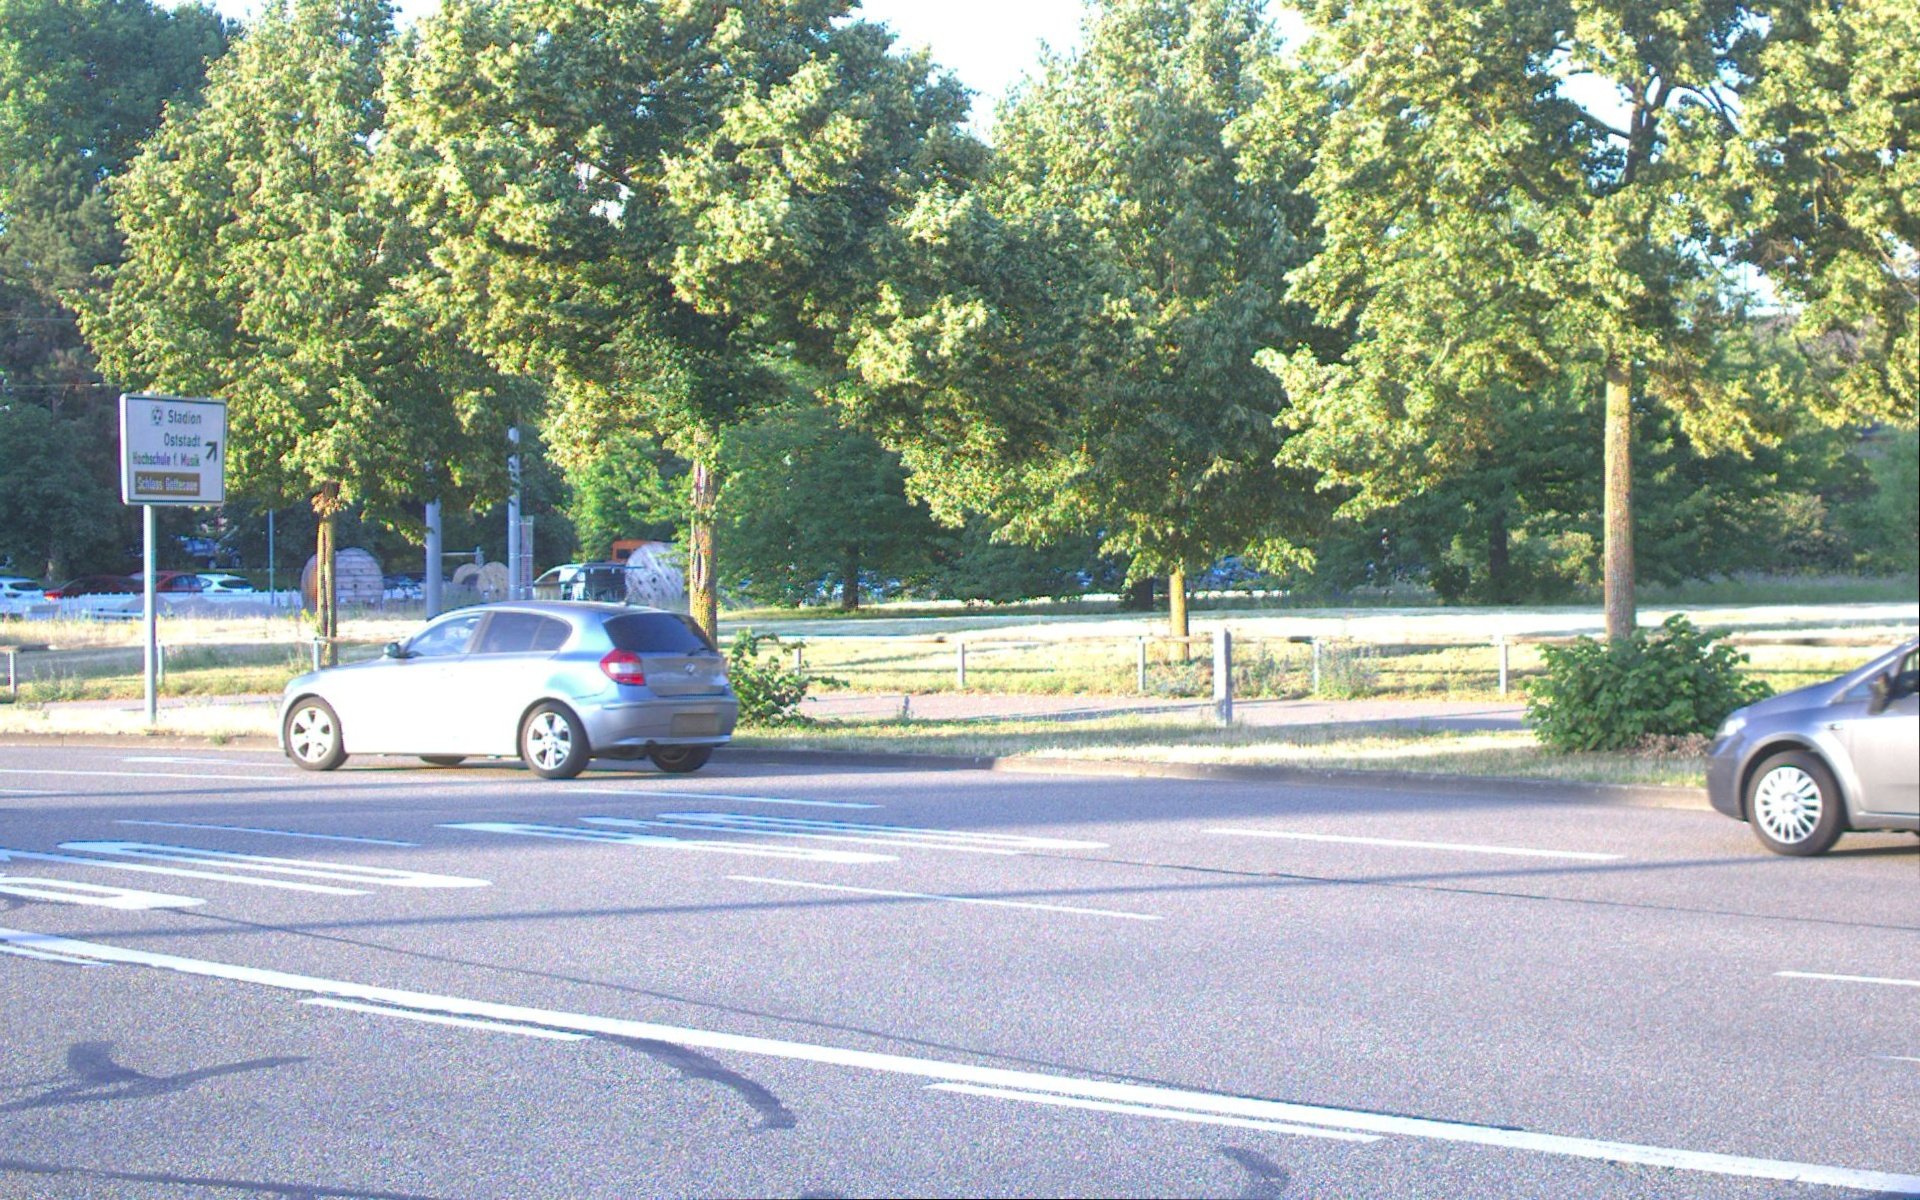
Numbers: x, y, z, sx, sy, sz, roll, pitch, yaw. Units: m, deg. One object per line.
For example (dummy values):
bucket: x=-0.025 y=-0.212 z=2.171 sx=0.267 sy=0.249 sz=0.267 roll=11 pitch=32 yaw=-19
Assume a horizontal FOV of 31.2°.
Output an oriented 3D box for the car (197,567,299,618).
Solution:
car: x=-26.797 y=-0.303 z=129.318 sx=1.994 sy=1.746 sz=4.597 roll=-1 pitch=2 yaw=-37

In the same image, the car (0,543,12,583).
car: x=-42.388 y=-1.557 z=145.381 sx=3.988 sy=1.700 sz=2.000 roll=0 pitch=1 yaw=7

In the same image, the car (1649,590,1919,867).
car: x=6.025 y=0.692 z=18.806 sx=1.862 sy=1.449 sz=4.161 roll=-1 pitch=1 yaw=-40

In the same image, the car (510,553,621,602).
car: x=-13.208 y=-0.760 z=114.896 sx=1.734 sy=1.612 sz=3.998 roll=-1 pitch=1 yaw=-41

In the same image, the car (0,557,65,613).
car: x=-35.211 y=-0.533 z=125.823 sx=4.582 sy=2.007 sz=2.001 roll=-1 pitch=1 yaw=-9

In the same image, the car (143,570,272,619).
car: x=-25.351 y=-0.189 z=115.839 sx=3.994 sy=1.598 sz=1.996 roll=0 pitch=1 yaw=33

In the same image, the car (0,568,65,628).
car: x=-33.144 y=-0.078 z=117.808 sx=4.582 sy=2.007 sz=2.001 roll=-1 pitch=1 yaw=-9

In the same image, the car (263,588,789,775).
car: x=-3.596 y=0.615 z=28.147 sx=4.158 sy=1.385 sz=1.864 roll=0 pitch=1 yaw=37

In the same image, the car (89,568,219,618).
car: x=-26.754 y=-0.245 z=114.110 sx=3.994 sy=1.598 sz=1.996 roll=0 pitch=1 yaw=33
